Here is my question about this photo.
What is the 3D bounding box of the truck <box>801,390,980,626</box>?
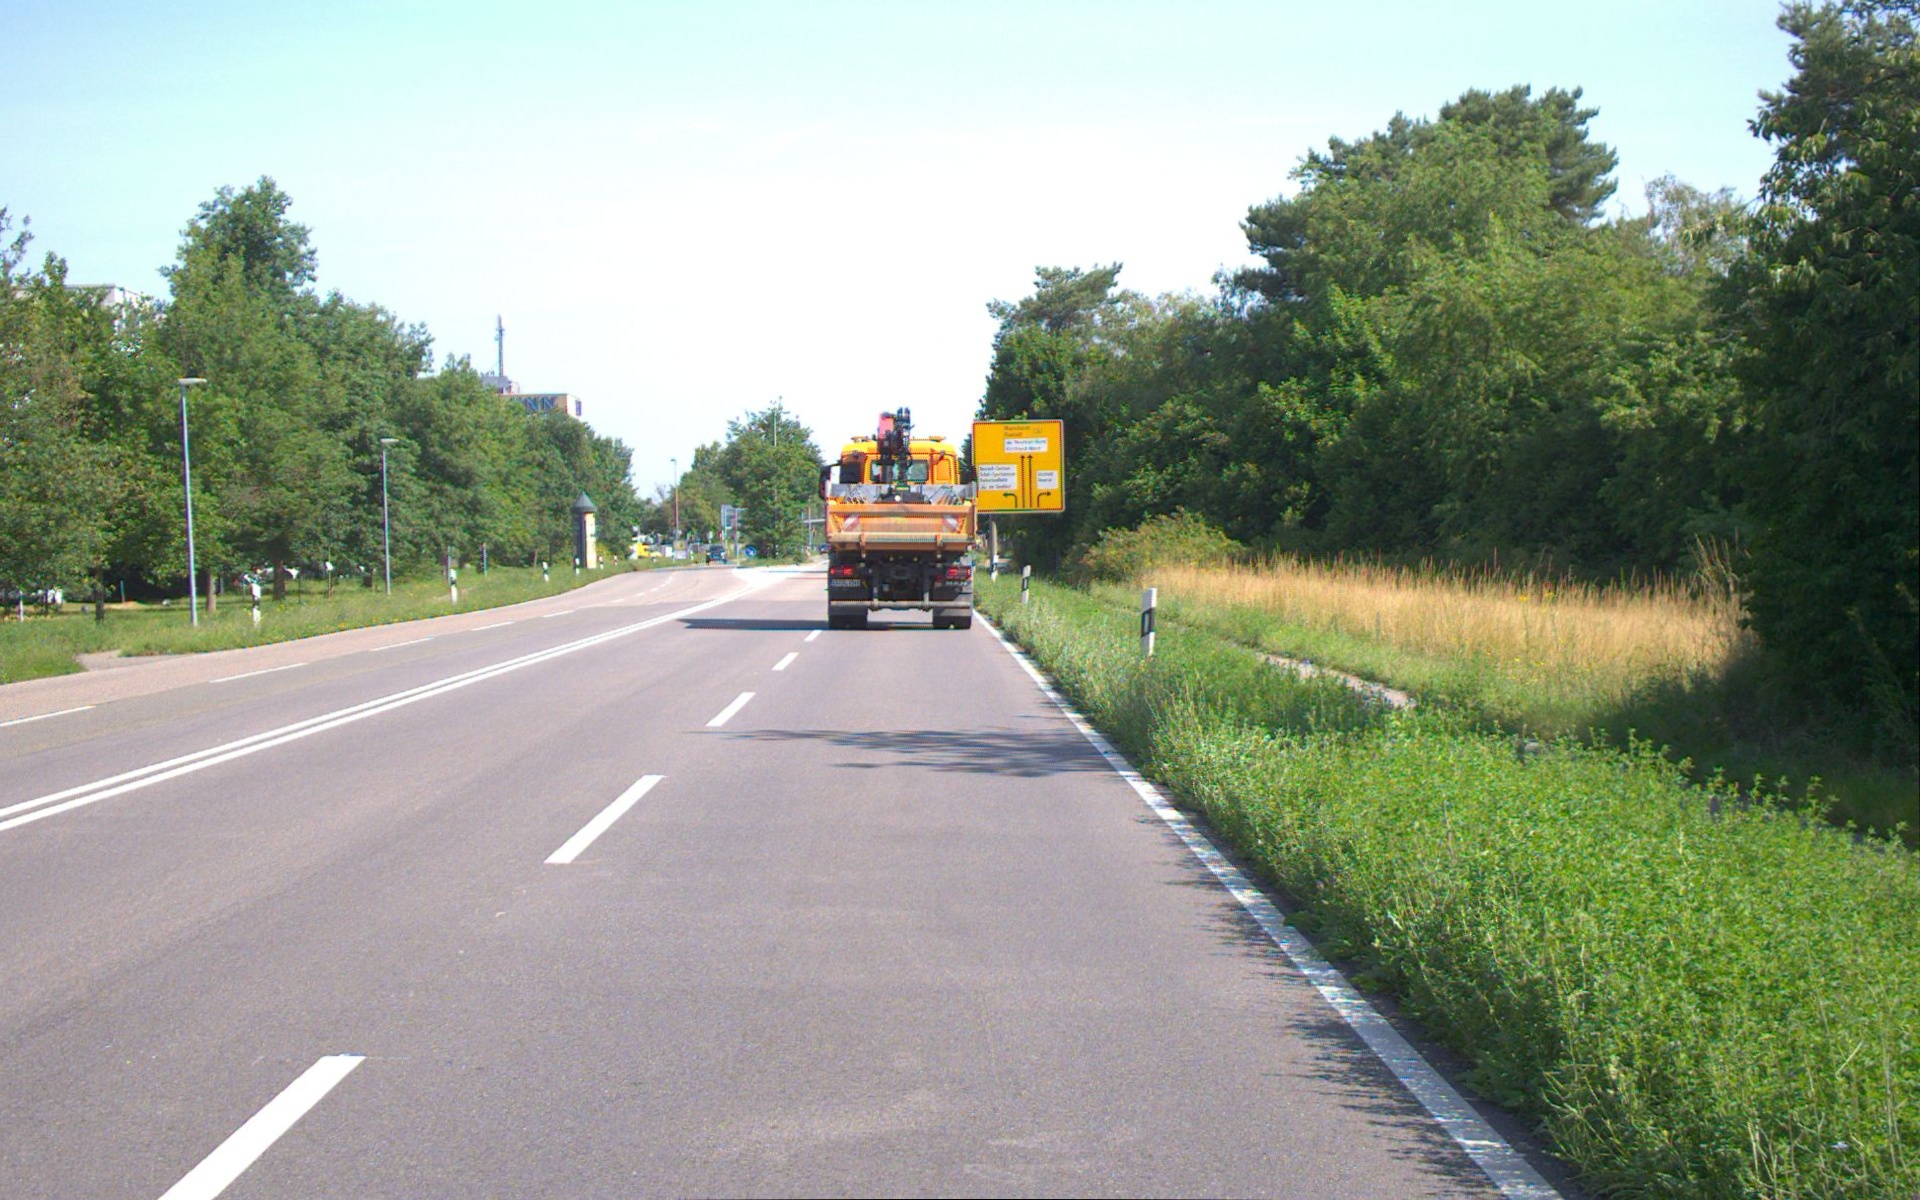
[{"bbox_3d":[-1.329,-1.597,60.857,2.871,3.867,7.401,1,1,-3],"label":"truck"}]

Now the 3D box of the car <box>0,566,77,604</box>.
[{"bbox_3d":[-37.276,-0.613,138.553,1.993,1.432,4.955,-1,1,1],"label":"car"}]

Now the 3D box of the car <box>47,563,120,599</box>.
[{"bbox_3d":[-37.835,-0.826,148.511,1.993,1.432,4.610,-1,1,-1],"label":"car"}]
